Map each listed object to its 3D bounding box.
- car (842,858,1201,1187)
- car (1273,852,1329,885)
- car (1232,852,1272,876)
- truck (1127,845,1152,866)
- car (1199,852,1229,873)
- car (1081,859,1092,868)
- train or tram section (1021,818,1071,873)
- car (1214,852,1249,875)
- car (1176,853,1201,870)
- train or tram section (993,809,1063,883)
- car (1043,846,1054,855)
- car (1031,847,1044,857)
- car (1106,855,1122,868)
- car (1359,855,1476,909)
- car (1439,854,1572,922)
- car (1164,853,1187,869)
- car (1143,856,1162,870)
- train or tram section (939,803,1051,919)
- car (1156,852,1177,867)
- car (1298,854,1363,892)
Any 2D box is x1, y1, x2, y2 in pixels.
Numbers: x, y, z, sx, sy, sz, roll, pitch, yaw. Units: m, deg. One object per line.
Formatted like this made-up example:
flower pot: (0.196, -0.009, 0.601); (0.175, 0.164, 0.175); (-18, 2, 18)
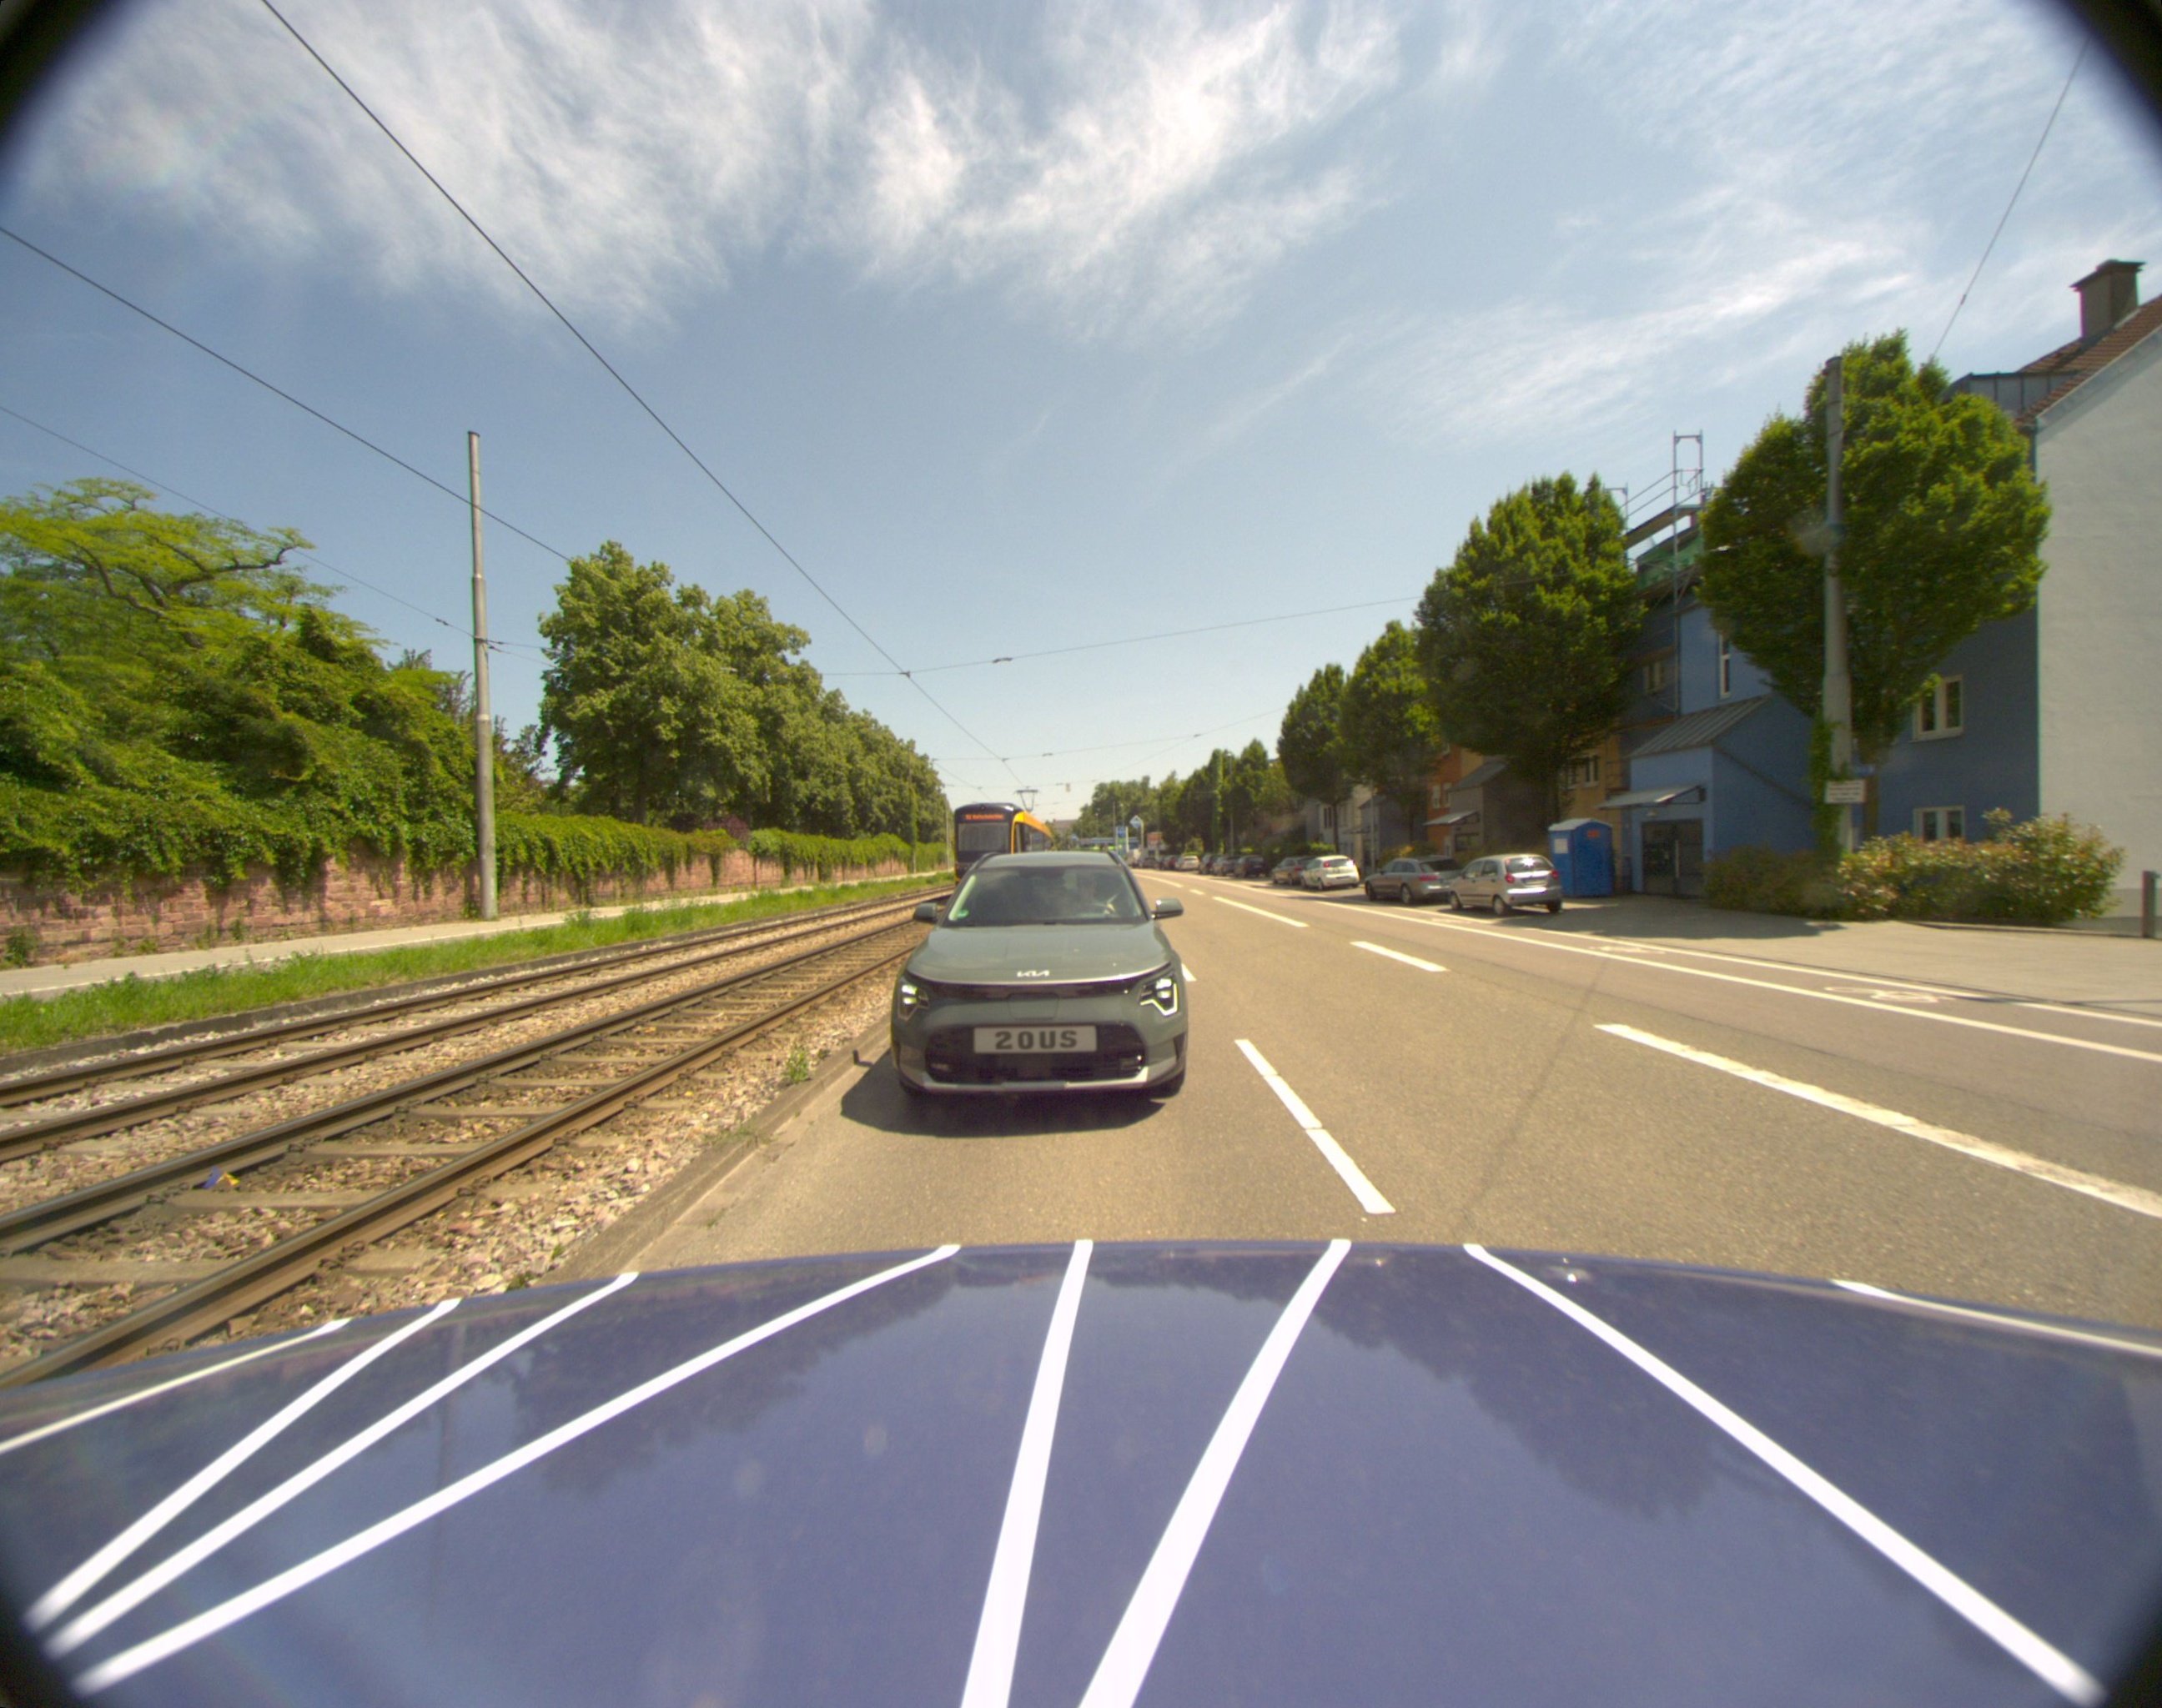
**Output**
car: (-0.272, 0.872, 6.061); (1.759, 1.574, 4.427); (-2, 0, 1)
car: (11.543, 0.728, 40.178); (1.656, 1.487, 4.082); (-5, 0, 0)
car: (11.595, 0.646, 51.666); (1.656, 1.487, 4.082); (-5, 0, 0)
truck: (7.625, 0.182, 99.761); (2.135, 2.565, 4.861); (-5, 0, -8)
car: (10.943, 0.659, 62.681); (1.656, 1.578, 4.082); (-5, 0, 0)
car: (0.999, 1.607, 132.739); (1.865, 1.487, 3.470); (-1, 0, -1)
train or tram section: (-2.569, -0.662, 60.975); (2.783, 3.786, 14.261); (-2, 1, 1)
car: (11.175, 0.682, 56.648); (1.656, 1.487, 4.082); (-5, 0, 0)
car: (10.415, 0.681, 74.169); (1.723, 1.487, 4.082); (-5, 0, 0)
train or tram section: (-2.916, -0.504, 46.704); (2.783, 3.789, 14.261); (-2, 1, 1)
car: (-5.711, -0.574, 134.714); (1.865, 1.487, 3.470); (-1, 0, -1)
car: (-6.419, -0.303, 112.064); (1.865, 1.487, 3.470); (-1, 0, -1)
car: (4.367, 0.955, 101.559); (1.865, 1.487, 3.470); (-5, 0, 0)
car: (10.897, 0.839, 24.998); (1.680, 1.487, 4.638); (-5, 0, 0)
car: (10.962, 0.815, 19.870); (1.505, 1.487, 3.282); (-5, 0, 0)
car: (9.868, 0.677, 79.923); (1.865, 1.487, 3.470); (-5, 0, 0)
car: (8.844, 1.064, 93.808); (1.865, 1.487, 3.470); (-5, 0, 0)
train or tram section: (-3.143, 0.153, 32.442); (2.813, 3.785, 14.260); (-2, 1, 1)
car: (9.517, 0.631, 84.666); (1.865, 1.487, 3.470); (-5, 0, 0)
car: (11.394, 0.822, 34.888); (1.656, 1.487, 3.649); (-5, 0, 0)
